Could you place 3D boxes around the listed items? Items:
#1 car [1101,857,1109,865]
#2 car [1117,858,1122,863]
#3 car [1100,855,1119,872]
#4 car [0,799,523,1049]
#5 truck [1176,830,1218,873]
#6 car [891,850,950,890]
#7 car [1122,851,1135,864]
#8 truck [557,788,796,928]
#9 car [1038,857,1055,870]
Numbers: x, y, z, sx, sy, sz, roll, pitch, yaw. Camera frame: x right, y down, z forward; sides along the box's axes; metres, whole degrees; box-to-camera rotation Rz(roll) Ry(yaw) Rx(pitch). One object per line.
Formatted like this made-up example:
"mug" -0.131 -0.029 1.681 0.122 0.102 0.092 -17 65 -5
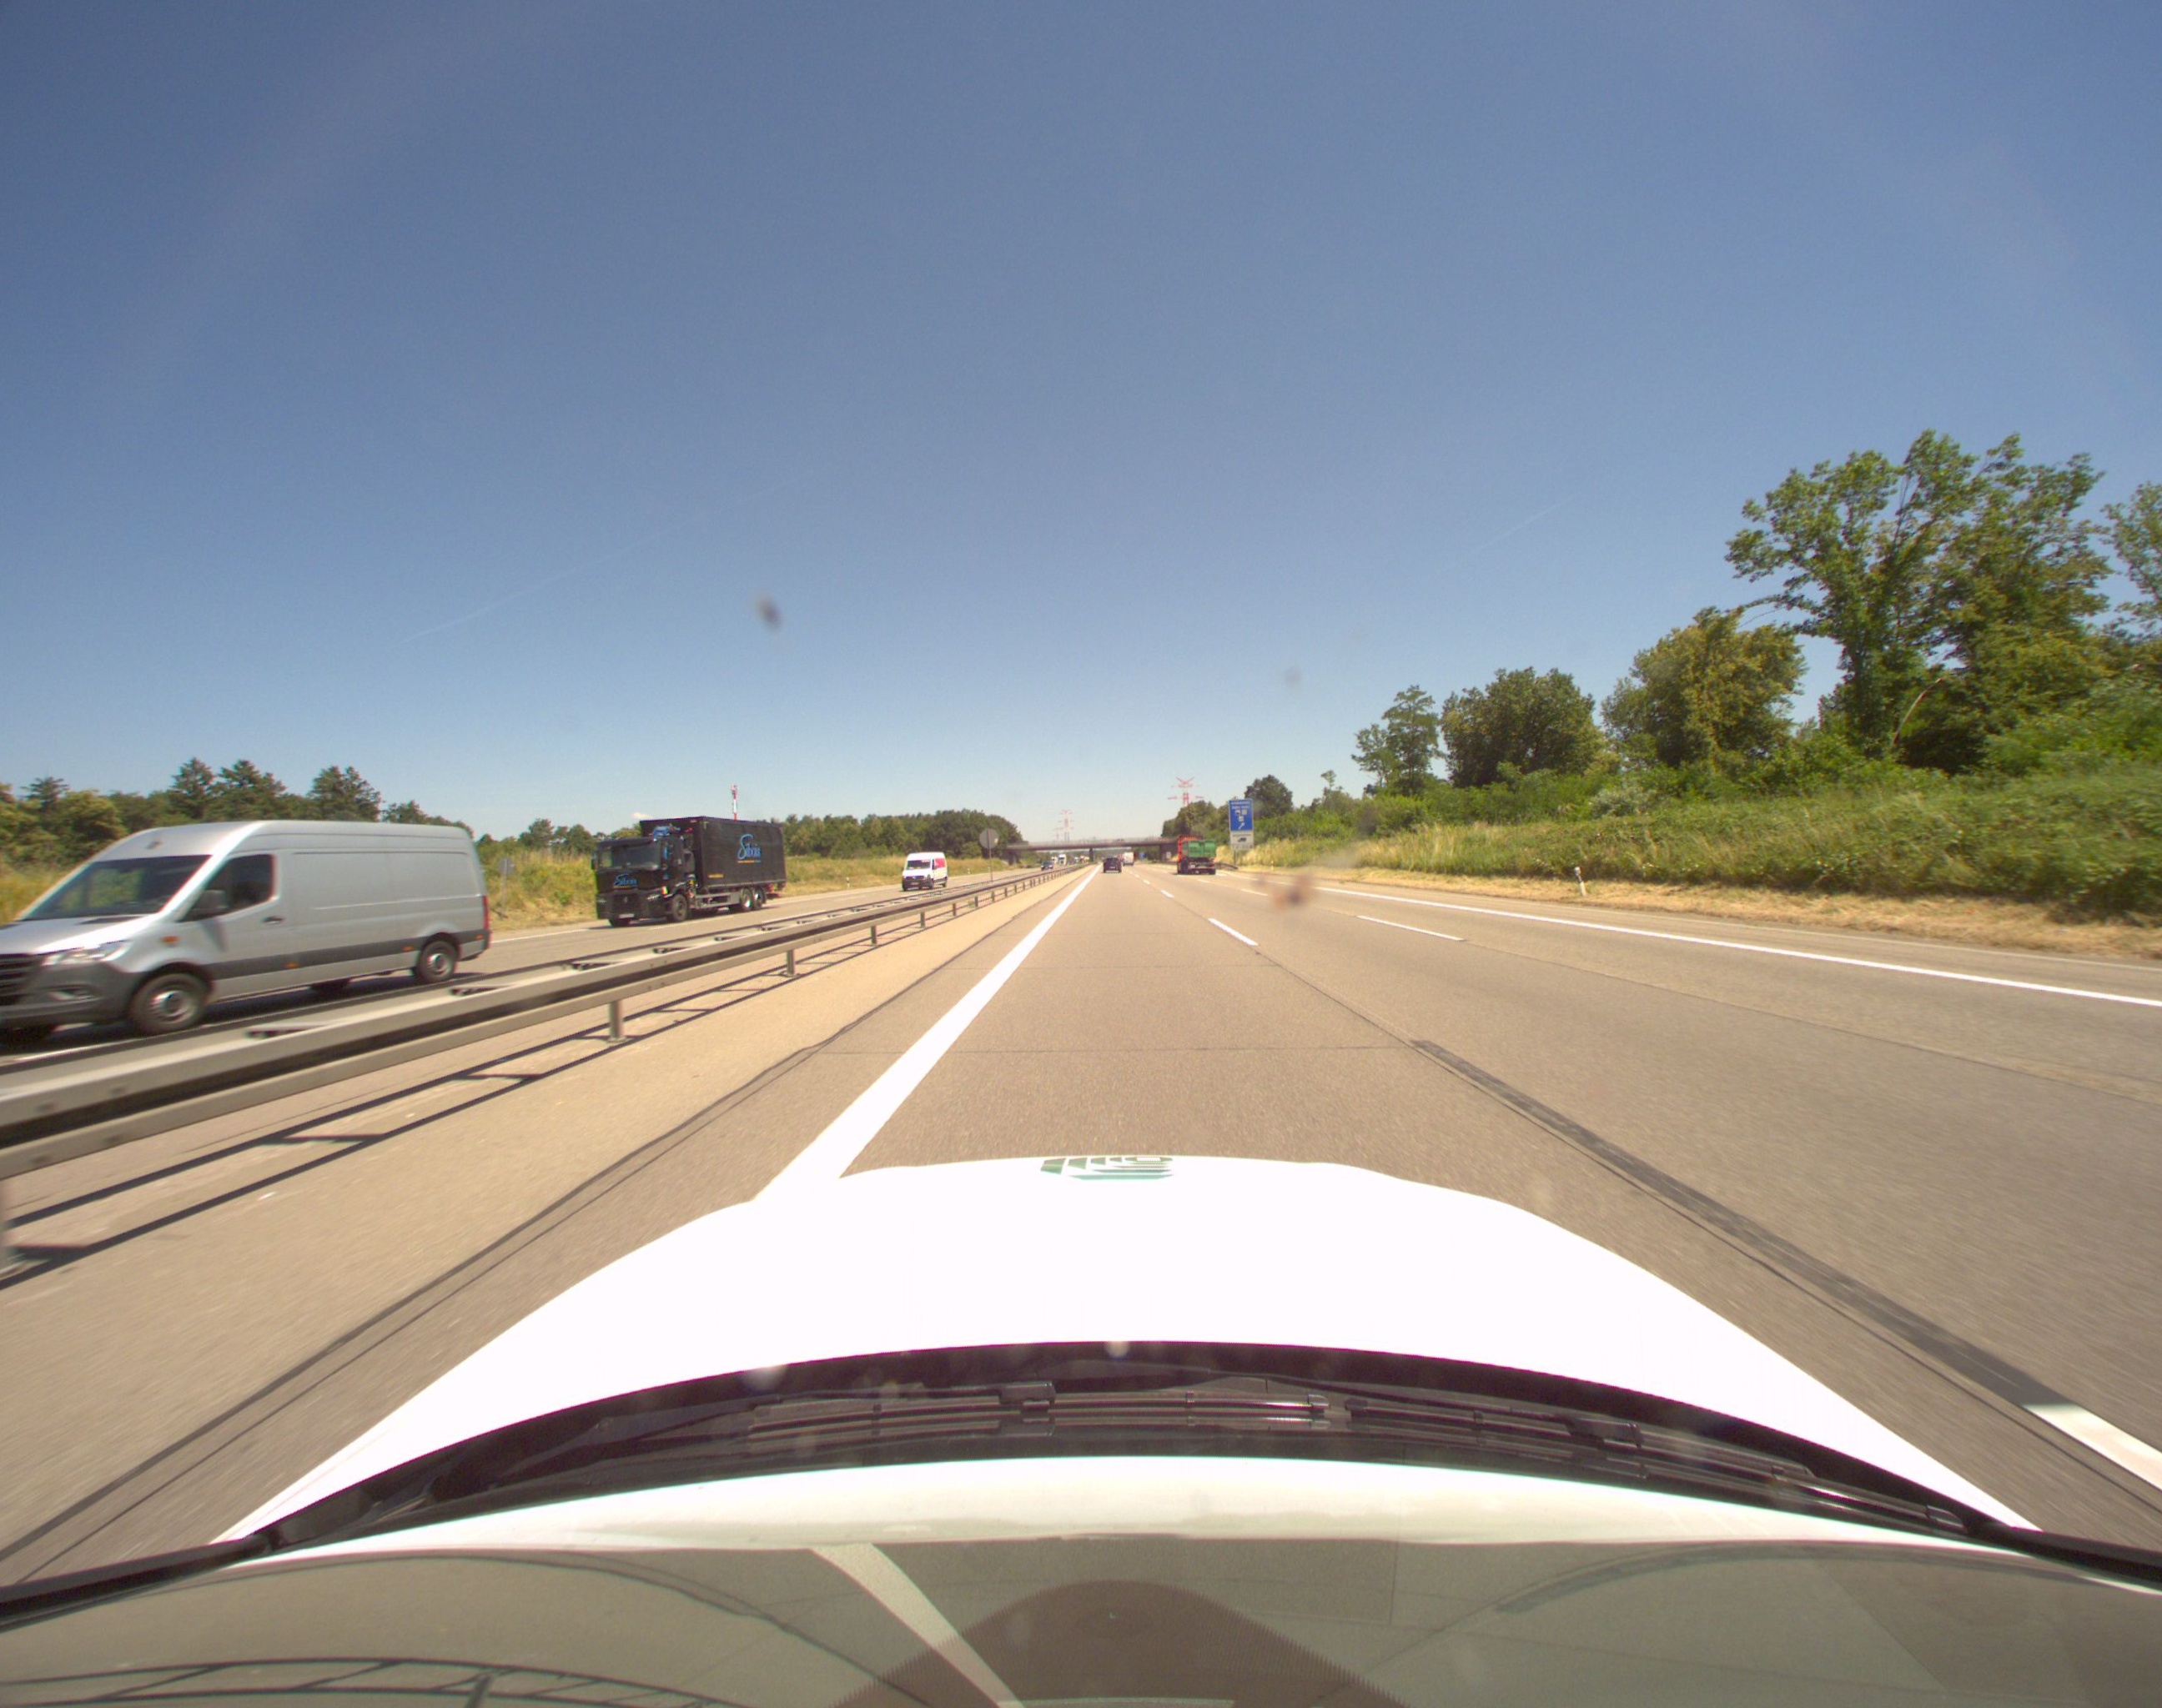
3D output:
"car" 5.247 1.578 177.532 1.787 1.750 4.001 0 0 2
"car" 12.138 2.105 256.964 1.740 1.634 4.005 0 0 2
"car" 3.127 1.027 89.305 1.986 1.750 4.001 0 0 2
"car" -11.394 0.782 11.735 1.986 2.570 6.392 -4 0 2
"truck" 11.048 -0.195 78.549 2.670 3.798 12.483 0 0 2
"car" -11.141 1.085 57.119 2.355 2.448 7.135 -4 0 2
"car" 9.747 0.730 167.638 2.611 2.759 6.099 0 0 2
"truck" -16.181 0.188 34.384 3.364 4.625 12.192 -4 -1 2
"car" -5.611 1.509 133.951 2.355 1.895 5.226 -4 0 1
